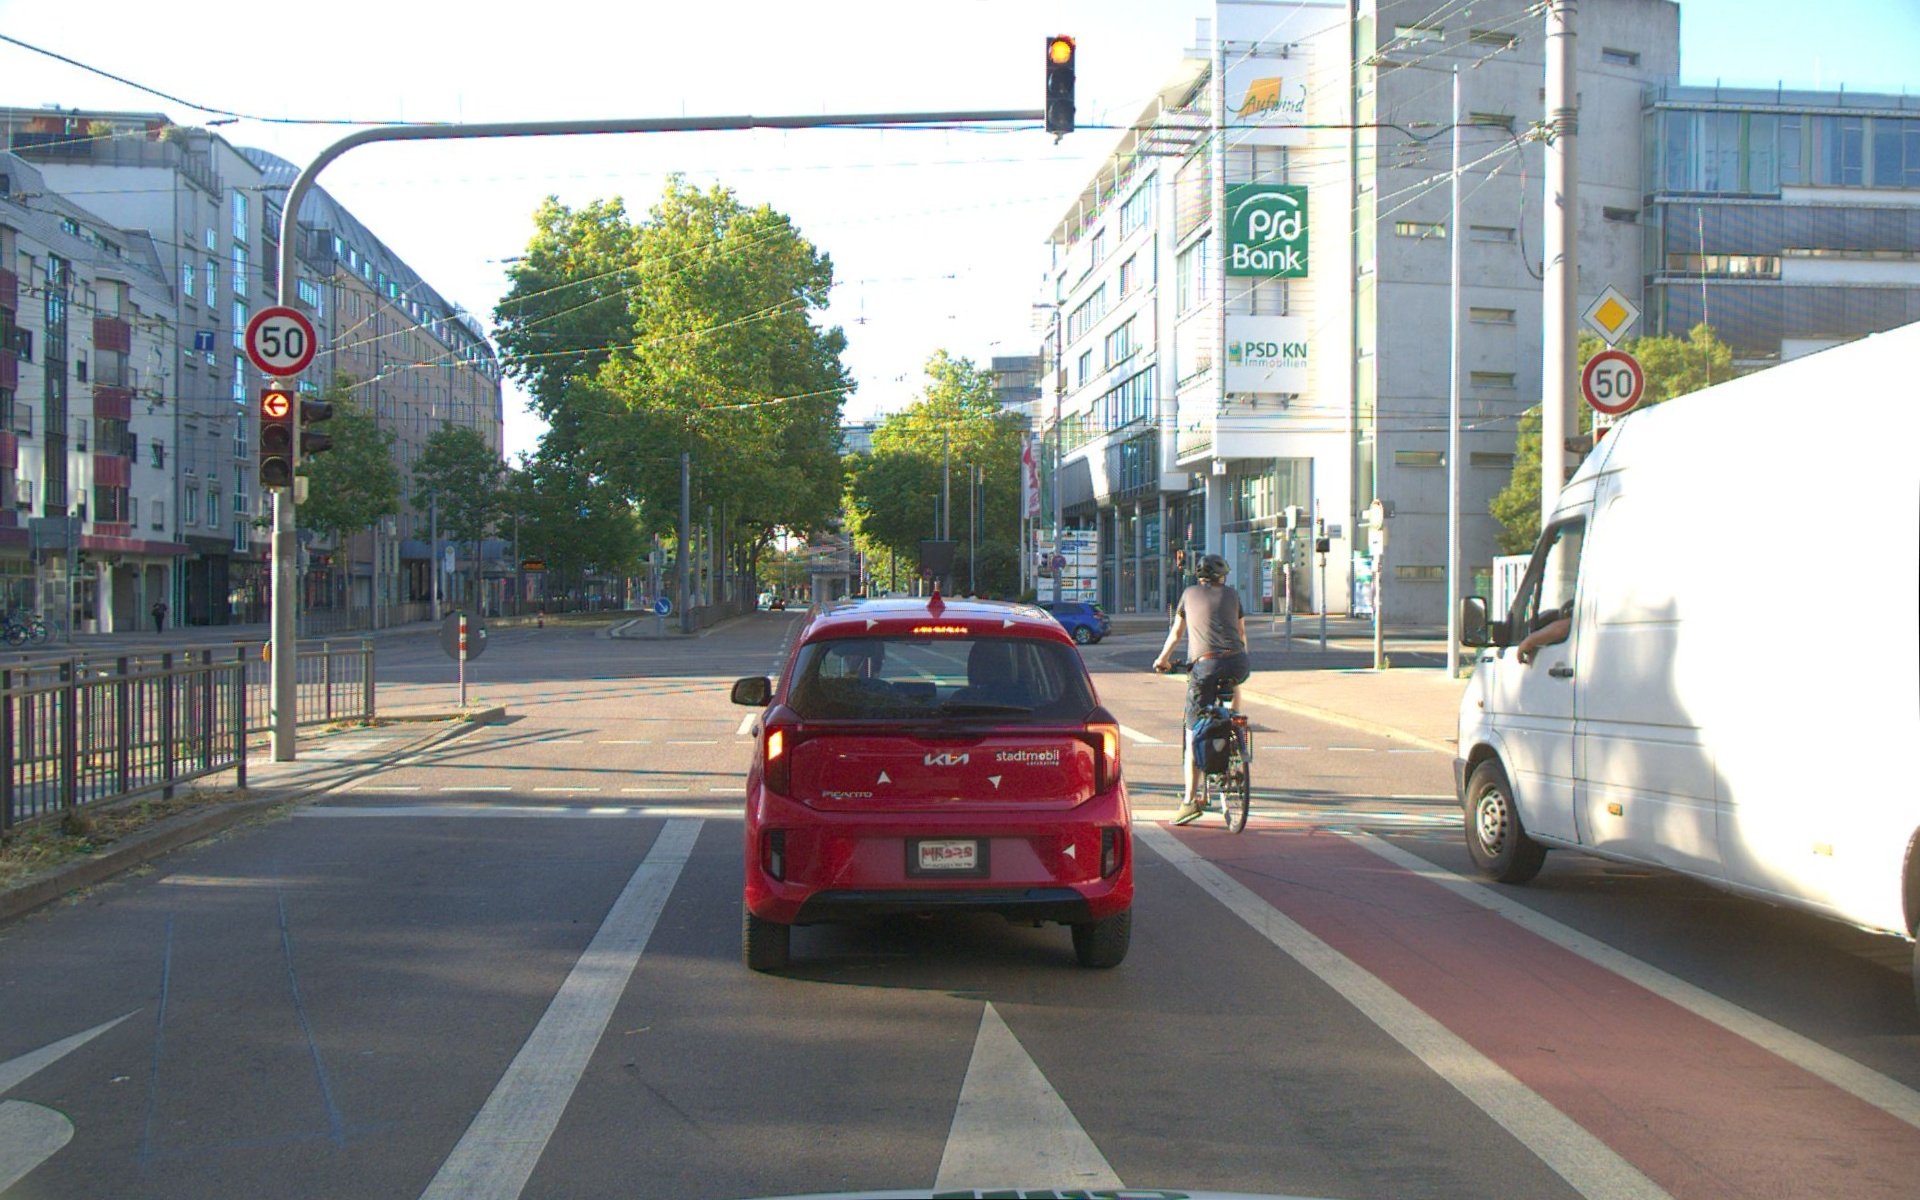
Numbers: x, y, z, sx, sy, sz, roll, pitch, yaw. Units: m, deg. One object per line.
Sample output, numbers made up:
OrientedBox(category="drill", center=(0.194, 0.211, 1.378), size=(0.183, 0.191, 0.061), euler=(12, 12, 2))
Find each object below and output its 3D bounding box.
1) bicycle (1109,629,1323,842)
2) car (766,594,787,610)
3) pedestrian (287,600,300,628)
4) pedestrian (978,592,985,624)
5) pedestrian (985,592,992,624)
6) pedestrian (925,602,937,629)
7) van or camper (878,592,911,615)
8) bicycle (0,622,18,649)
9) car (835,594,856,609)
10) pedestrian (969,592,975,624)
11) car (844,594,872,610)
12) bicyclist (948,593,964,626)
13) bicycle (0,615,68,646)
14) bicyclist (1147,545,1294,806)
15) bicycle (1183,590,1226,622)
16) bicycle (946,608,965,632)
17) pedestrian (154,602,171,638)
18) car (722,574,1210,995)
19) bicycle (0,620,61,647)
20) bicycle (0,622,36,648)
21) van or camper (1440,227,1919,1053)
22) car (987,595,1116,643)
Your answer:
OrientedBox(category="bicycle", center=(1.696, 0.864, 11.364), size=(0.730, 1.245, 2.150), euler=(1, 1, -12))
OrientedBox(category="car", center=(-19.573, 0.210, 176.209), size=(2.020, 1.682, 3.483), euler=(-1, 0, -11))
OrientedBox(category="pedestrian", center=(-35.861, 0.731, 88.995), size=(0.501, 1.484, 0.527), euler=(-1, 0, -8))
OrientedBox(category="pedestrian", center=(1.068, 0.403, 82.409), size=(0.288, 1.589, 0.355), euler=(-1, 0, -4))
OrientedBox(category="pedestrian", center=(1.439, 0.408, 82.505), size=(0.288, 1.589, 0.314), euler=(-1, 0, -5))
OrientedBox(category="pedestrian", center=(-1.941, 1.026, 109.778), size=(0.728, 1.746, 0.748), euler=(0, 0, -3))
OrientedBox(category="van or camper", center=(-5.303, 0.259, 133.279), size=(2.105, 1.781, 4.423), euler=(-1, 0, -9))
OrientedBox(category="bicycle", center=(-30.076, 1.087, 50.552), size=(2.129, 0.801, 0.639), euler=(-1, 0, -10))
OrientedBox(category="car", center=(-12.572, 0.178, 181.235), size=(1.850, 1.555, 4.423), euler=(-1, 0, -9))
OrientedBox(category="pedestrian", center=(0.612, 0.398, 82.224), size=(0.288, 1.589, 0.302), euler=(-1, 0, 1))
OrientedBox(category="car", center=(-10.332, 0.195, 167.350), size=(2.431, 1.555, 4.424), euler=(-1, 0, -8))
OrientedBox(category="bicyclist", center=(-0.222, 0.474, 85.171), size=(0.768, 1.663, 0.639), euler=(0, 0, 5))
OrientedBox(category="bicycle", center=(-30.019, 0.977, 53.334), size=(2.129, 0.967, 0.491), euler=(-1, 0, -10))
OrientedBox(category="bicyclist", center=(1.751, 0.492, 11.194), size=(0.730, 1.698, 0.742), euler=(1, 0, -13))
OrientedBox(category="bicycle", center=(11.296, 0.280, 76.499), size=(1.898, 1.468, 0.574), euler=(-1, 0, -7))
OrientedBox(category="bicycle", center=(-0.210, 1.004, 85.138), size=(0.776, 1.182, 2.501), euler=(0, 0, 5))
OrientedBox(category="pedestrian", center=(-33.559, 0.828, 69.589), size=(0.501, 1.484, 0.526), euler=(-1, 0, -14))
OrientedBox(category="car", center=(-0.144, 0.657, 7.953), size=(1.804, 1.515, 3.712), euler=(0, 0, -6))
OrientedBox(category="bicycle", center=(-29.908, 1.072, 52.699), size=(2.129, 0.838, 0.527), euler=(-1, 0, -10))
OrientedBox(category="bicycle", center=(-29.898, 1.089, 51.286), size=(2.129, 0.801, 0.491), euler=(-1, 0, -10))
OrientedBox(category="van or camper", center=(4.255, 0.153, 6.716), size=(2.225, 2.781, 6.340), euler=(2, 0, -5))
OrientedBox(category="car", center=(3.198, 0.649, 57.623), size=(4.169, 1.595, 1.851), euler=(-1, 0, 16))
